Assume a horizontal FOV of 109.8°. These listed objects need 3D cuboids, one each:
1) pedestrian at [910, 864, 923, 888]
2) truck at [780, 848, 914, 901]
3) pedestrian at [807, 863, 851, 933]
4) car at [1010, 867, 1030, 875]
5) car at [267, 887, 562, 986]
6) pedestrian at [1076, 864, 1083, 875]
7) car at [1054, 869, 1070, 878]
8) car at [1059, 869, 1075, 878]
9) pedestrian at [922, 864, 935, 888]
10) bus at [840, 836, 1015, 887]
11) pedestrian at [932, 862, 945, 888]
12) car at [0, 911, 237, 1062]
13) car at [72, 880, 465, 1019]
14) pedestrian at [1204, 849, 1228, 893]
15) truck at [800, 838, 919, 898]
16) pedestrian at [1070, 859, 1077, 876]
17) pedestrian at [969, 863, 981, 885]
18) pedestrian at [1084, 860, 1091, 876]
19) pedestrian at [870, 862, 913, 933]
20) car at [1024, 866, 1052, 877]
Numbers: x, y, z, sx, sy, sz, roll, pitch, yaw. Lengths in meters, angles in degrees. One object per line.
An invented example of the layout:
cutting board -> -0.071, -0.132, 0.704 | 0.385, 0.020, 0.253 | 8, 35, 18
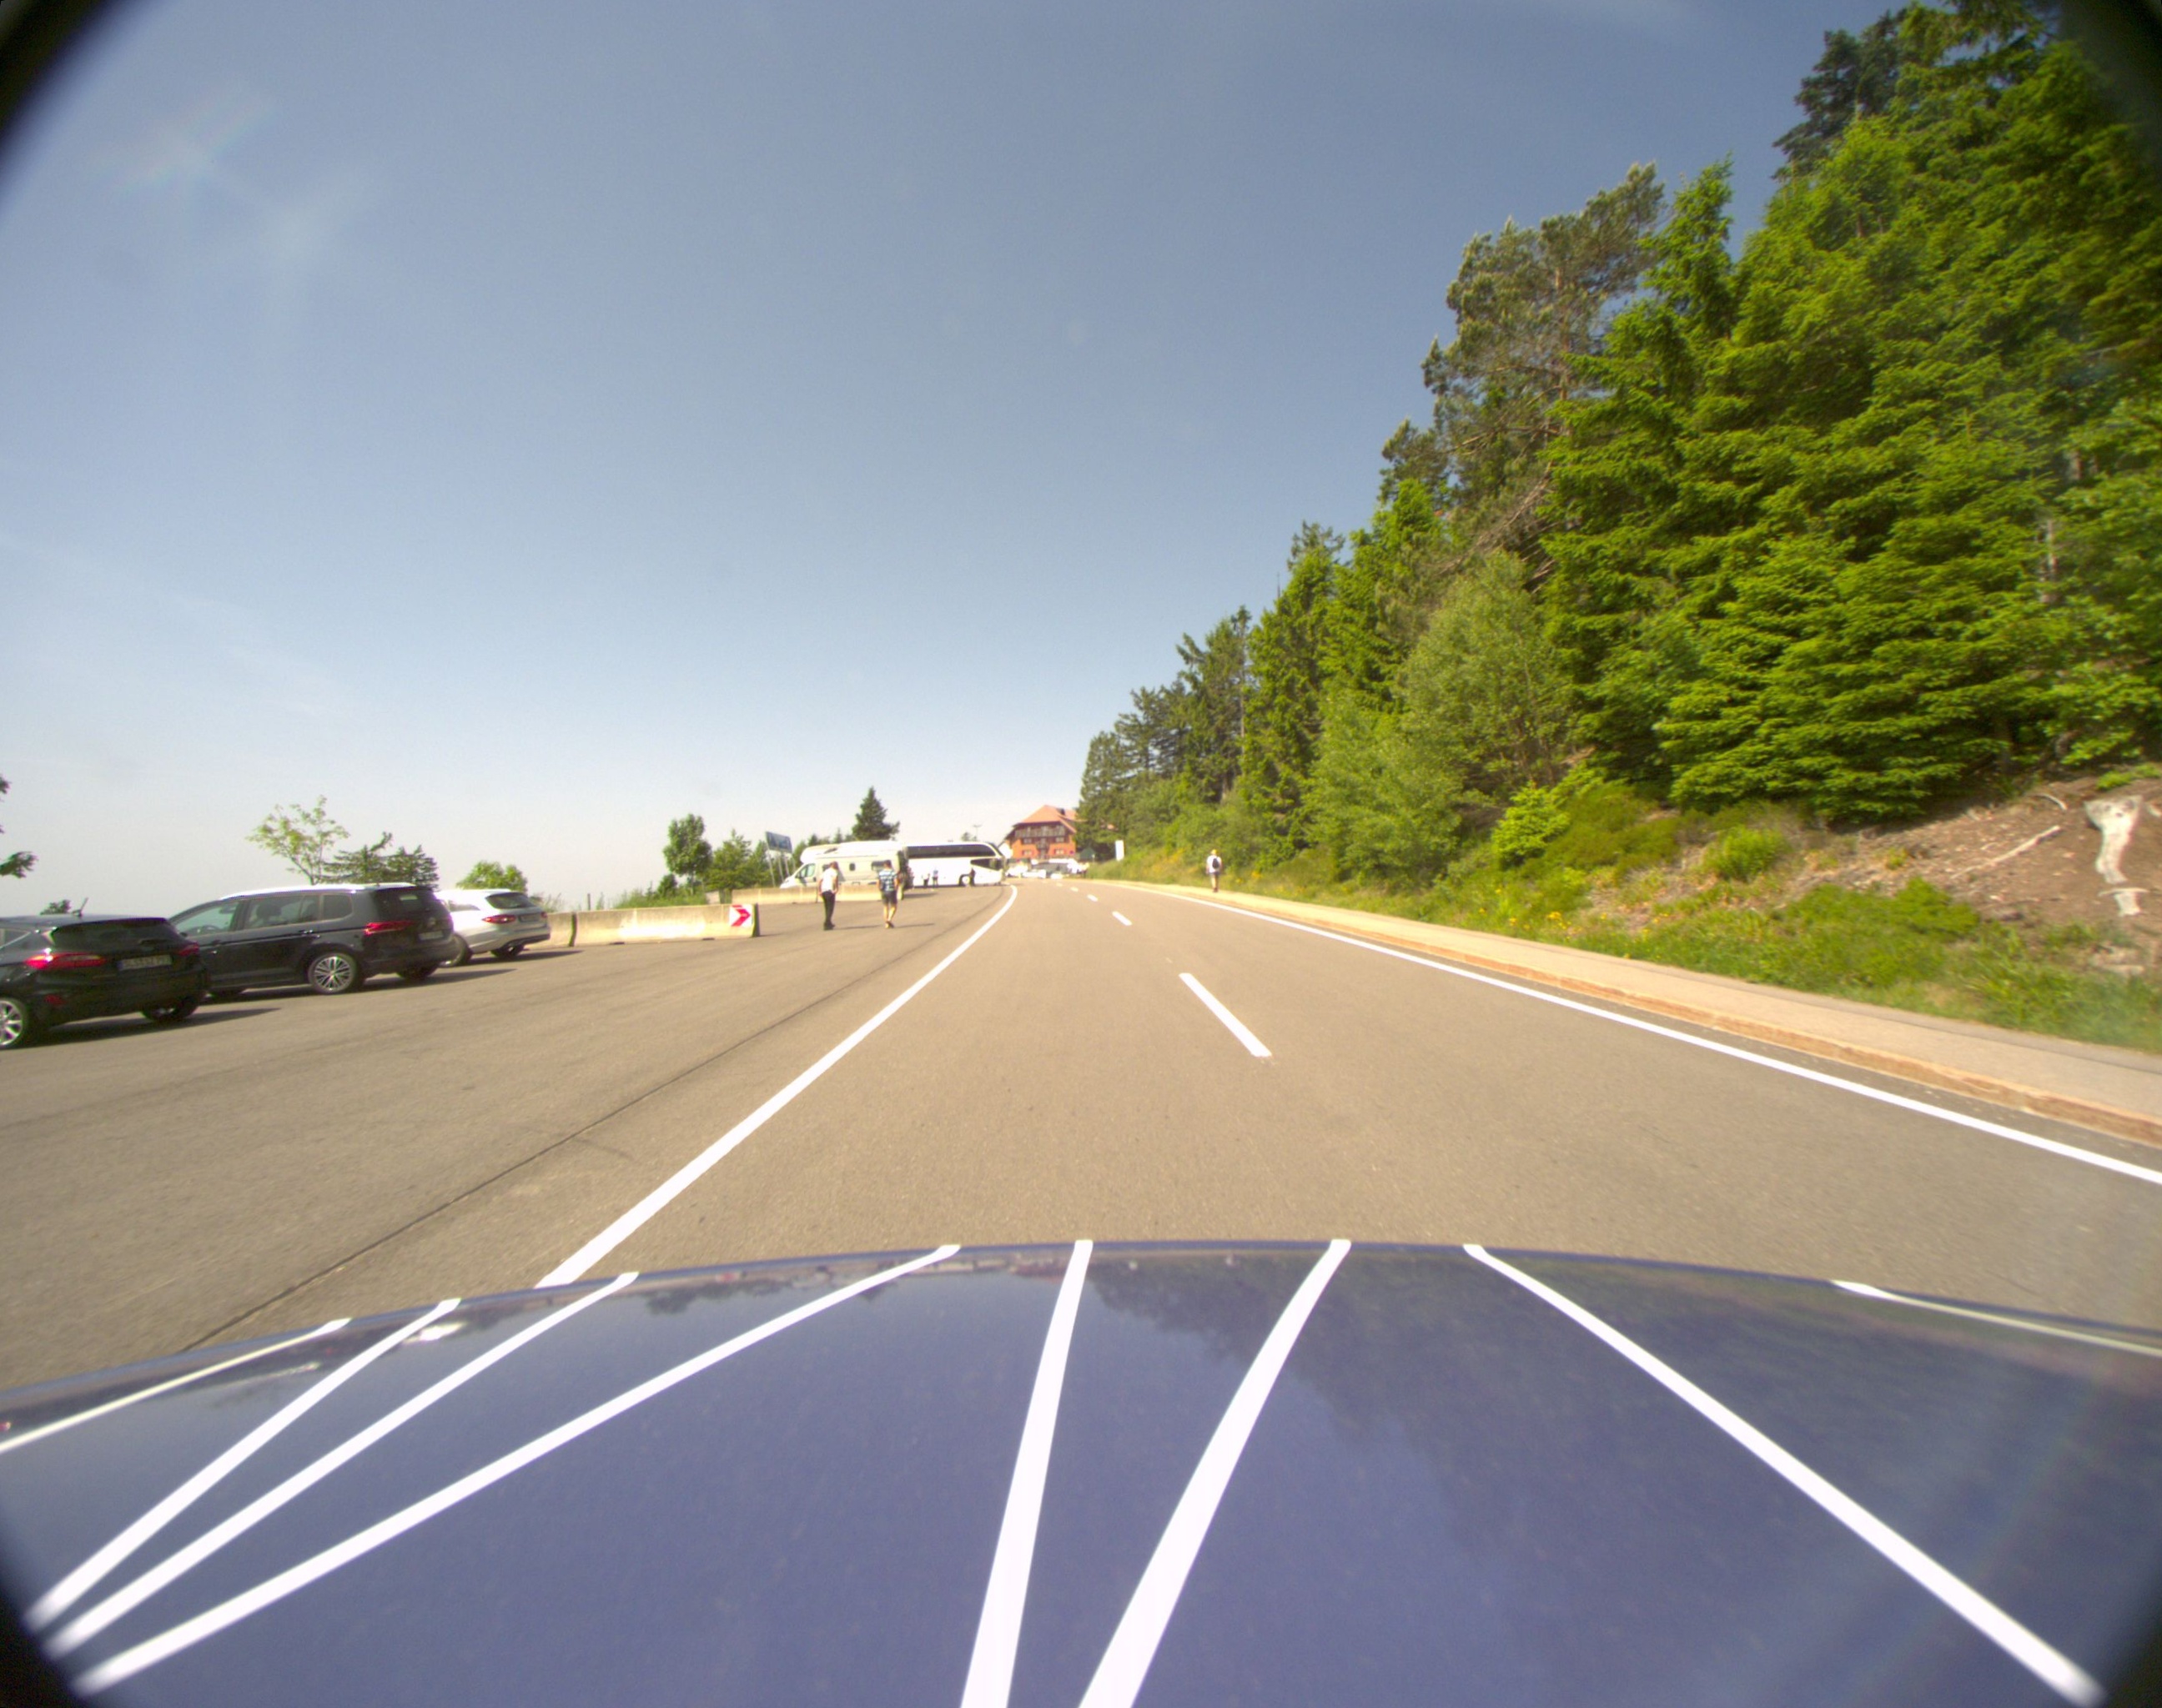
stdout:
pedestrian -> -11.539, 1.524, 53.213 | 0.631, 1.687, 0.628 | -1, 0, 10
truck -> -12.235, 1.082, 40.102 | 6.278, 2.575, 2.340 | -1, -1, -3
pedestrian -> -6.374, 1.103, 19.280 | 0.666, 1.730, 0.895 | -1, 0, 11
car -> -11.445, 3.232, 143.333 | 3.326, 1.582, 1.720 | -1, -1, 30
car -> -12.897, 1.559, 14.933 | 3.999, 1.467, 1.772 | -4, 0, -6
pedestrian -> -0.167, 1.563, 76.749 | 0.570, 1.095, 0.744 | -1, -1, -7
car -> -3.475, 3.510, 138.161 | 1.710, 1.543, 3.140 | -1, -1, 26
car -> -2.514, 3.481, 135.555 | 1.637, 1.425, 3.322 | -3, -3, 24
pedestrian -> -10.596, 1.542, 52.900 | 0.631, 1.641, 0.629 | -1, 0, 20
bus -> -11.686, 0.576, 58.816 | 12.881, 3.556, 2.838 | -1, 0, -2
pedestrian -> -9.886, 1.441, 52.626 | 0.631, 1.747, 0.628 | -1, 0, 10
car -> -13.000, 1.617, 8.964 | 4.007, 1.428, 1.763 | -5, 0, 0
car -> -12.328, 1.384, 11.778 | 3.999, 1.637, 1.599 | -4, 0, -6
pedestrian -> 5.438, 0.696, 30.734 | 0.684, 1.736, 0.825 | -2, 0, -7
truck -> -12.558, 0.789, 43.419 | 6.082, 3.177, 2.531 | -1, 0, -6
pedestrian -> -0.786, 1.440, 80.189 | 0.581, 1.731, 0.686 | 0, -1, -17
pedestrian -> -7.725, 1.443, 55.473 | 0.631, 1.557, 0.628 | -1, 0, 10
pedestrian -> 0.661, 1.459, 79.189 | 0.578, 1.633, 0.894 | -1, -1, -7
pedestrian -> -4.789, 1.092, 19.191 | 0.755, 1.750, 0.776 | -1, 0, 11
car -> -6.749, 2.750, 120.029 | 3.954, 1.578, 1.793 | -1, -1, 23
